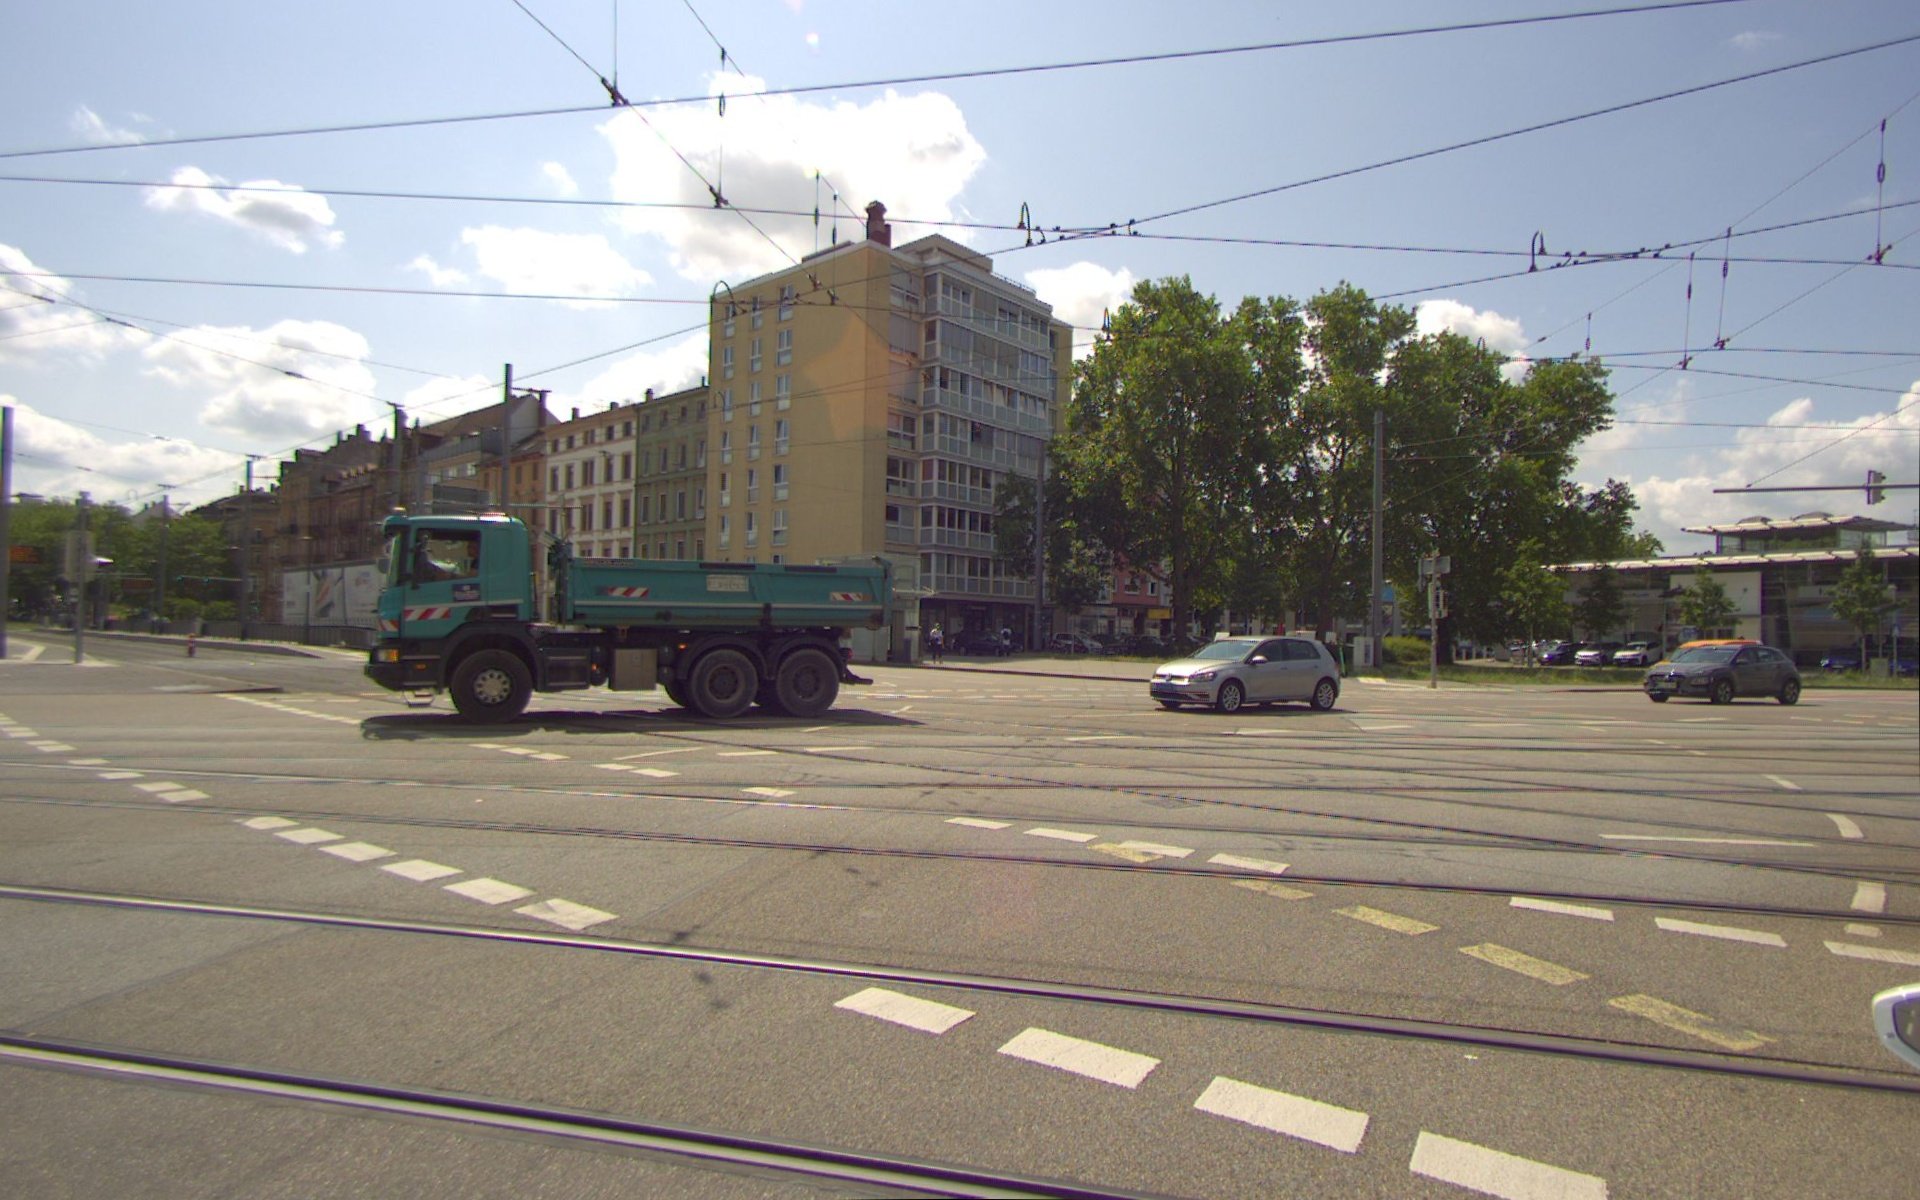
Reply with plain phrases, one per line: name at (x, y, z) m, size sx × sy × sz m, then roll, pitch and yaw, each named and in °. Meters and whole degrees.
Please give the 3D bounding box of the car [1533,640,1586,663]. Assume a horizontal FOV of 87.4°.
car at (45.651, 3.936, 76.462) m, size 4.138 × 1.594 × 1.980 m, roll 4°, pitch -2°, yaw -36°

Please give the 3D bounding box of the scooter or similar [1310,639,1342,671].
scooter or similar at (13.559, 2.037, 37.203) m, size 1.077 × 1.130 × 0.378 m, roll 3°, pitch -1°, yaw -14°

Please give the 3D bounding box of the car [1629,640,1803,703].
car at (19.952, 1.865, 26.518) m, size 4.057 × 1.552 × 1.716 m, roll 2°, pitch -2°, yaw -19°

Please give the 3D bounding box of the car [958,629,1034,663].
car at (2.002, 2.617, 56.973) m, size 4.058 × 1.686 × 1.859 m, roll 1°, pitch -2°, yaw 43°

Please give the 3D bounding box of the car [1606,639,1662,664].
car at (48.245, 3.710, 71.859) m, size 4.138 × 1.594 × 1.980 m, roll 4°, pitch -2°, yaw -36°

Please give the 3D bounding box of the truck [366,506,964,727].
truck at (-4.459, 0.381, 16.381) m, size 8.677 × 2.889 × 2.876 m, roll 2°, pitch -2°, yaw -26°

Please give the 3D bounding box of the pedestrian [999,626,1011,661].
pedestrian at (2.296, 2.197, 51.211) m, size 0.538 × 1.745 × 0.370 m, roll 2°, pitch -1°, yaw 9°

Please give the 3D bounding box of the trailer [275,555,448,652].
trailer at (-28.712, 0.058, 47.656) m, size 13.836 × 4.021 × 2.695 m, roll 1°, pitch -2°, yaw 41°

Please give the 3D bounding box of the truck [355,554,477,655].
truck at (-23.282, 0.187, 42.938) m, size 5.369 × 4.021 × 2.695 m, roll 1°, pitch -2°, yaw 41°

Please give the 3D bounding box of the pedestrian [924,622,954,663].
pedestrian at (-0.880, 1.777, 41.826) m, size 0.847 × 1.654 × 1.026 m, roll 2°, pitch -1°, yaw 21°

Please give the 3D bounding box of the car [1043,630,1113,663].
car at (7.606, 3.023, 65.077) m, size 4.052 × 1.883 × 1.974 m, roll 1°, pitch -2°, yaw 42°

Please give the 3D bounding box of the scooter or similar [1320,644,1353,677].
scooter or similar at (13.694, 2.201, 36.561) m, size 1.077 × 1.130 × 0.378 m, roll 3°, pitch -1°, yaw -14°

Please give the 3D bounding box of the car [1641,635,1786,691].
car at (25.614, 2.138, 34.145) m, size 4.668 × 1.824 × 1.716 m, roll 2°, pitch -3°, yaw -20°

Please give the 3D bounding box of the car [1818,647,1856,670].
car at (53.629, 3.583, 61.408) m, size 1.630 × 1.267 × 3.978 m, roll 1°, pitch -2°, yaw 43°

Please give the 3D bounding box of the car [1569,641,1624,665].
car at (47.015, 3.895, 74.178) m, size 4.138 × 1.594 × 1.980 m, roll 4°, pitch -2°, yaw -36°

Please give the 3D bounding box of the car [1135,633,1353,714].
car at (5.634, 1.411, 19.794) m, size 4.219 × 1.452 × 1.646 m, roll 2°, pitch -2°, yaw -29°

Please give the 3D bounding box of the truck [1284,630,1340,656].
truck at (29.699, 3.616, 84.755) m, size 4.720 × 2.148 × 1.796 m, roll 2°, pitch -2°, yaw -29°

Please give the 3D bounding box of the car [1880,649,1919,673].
car at (54.804, 3.558, 58.593) m, size 1.630 × 1.267 × 3.978 m, roll 1°, pitch -2°, yaw 43°
